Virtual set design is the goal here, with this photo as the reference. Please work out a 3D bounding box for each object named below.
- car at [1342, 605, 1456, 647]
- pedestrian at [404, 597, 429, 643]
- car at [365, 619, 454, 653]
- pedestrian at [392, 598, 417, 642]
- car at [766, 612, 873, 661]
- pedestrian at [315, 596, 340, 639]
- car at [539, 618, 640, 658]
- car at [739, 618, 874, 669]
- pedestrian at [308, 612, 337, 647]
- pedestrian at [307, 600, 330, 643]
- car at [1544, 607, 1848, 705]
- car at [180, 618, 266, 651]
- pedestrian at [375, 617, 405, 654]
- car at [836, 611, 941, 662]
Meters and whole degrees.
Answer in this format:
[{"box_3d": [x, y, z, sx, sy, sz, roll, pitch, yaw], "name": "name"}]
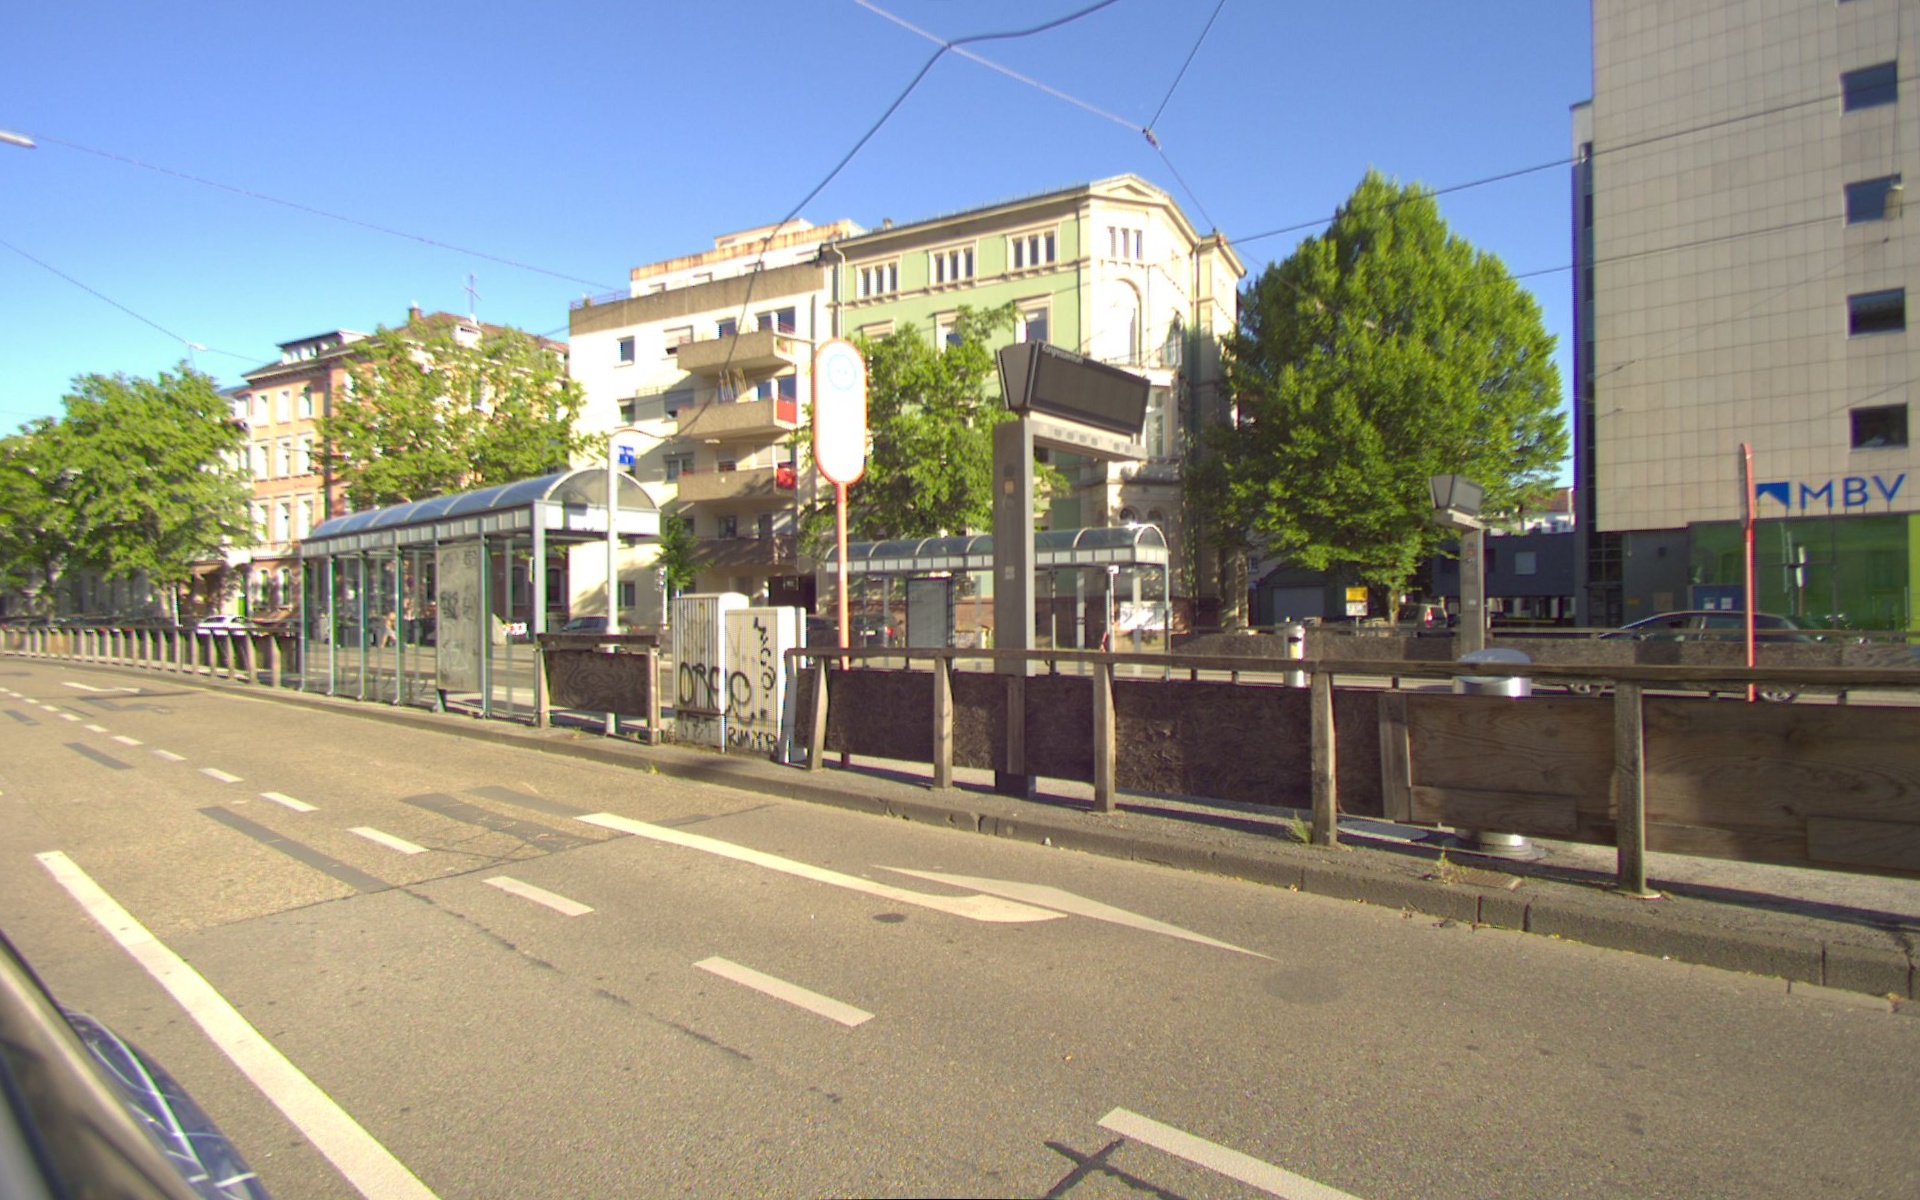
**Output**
[{"box_3d": [15.774, 0.900, 36.469, 1.544, 1.423, 3.430, -1, 0, -38], "name": "car"}, {"box_3d": [-26.996, 0.996, 50.306, 0.753, 2.224, 0.804, -1, -2, 30], "name": "pedestrian"}, {"box_3d": [-23.748, 1.554, 43.640, 3.986, 1.407, 1.592, -1, -2, 32], "name": "car"}, {"box_3d": [-27.887, 1.008, 50.816, 0.753, 2.224, 0.804, -1, -2, 30], "name": "pedestrian"}, {"box_3d": [-4.744, 1.223, 34.689, 1.754, 1.594, 3.965, -1, -1, 26], "name": "car"}, {"box_3d": [-33.051, 0.921, 52.887, 0.753, 2.224, 0.804, -1, -2, 30], "name": "pedestrian"}, {"box_3d": [-14.111, 1.427, 38.522, 3.725, 1.438, 1.637, -1, -1, 29], "name": "car"}, {"box_3d": [-4.549, 1.264, 29.828, 3.870, 1.419, 1.650, -1, -2, 35], "name": "car"}, {"box_3d": [-31.899, 1.479, 50.634, 1.016, 1.733, 0.846, -1, -2, 32], "name": "pedestrian"}, {"box_3d": [-34.201, 1.144, 53.932, 0.755, 2.224, 0.803, -1, -2, 36], "name": "pedestrian"}, {"box_3d": [12.286, 0.893, 17.185, 3.990, 1.500, 1.629, -1, -2, 35], "name": "car"}, {"box_3d": [-39.474, 1.816, 54.312, 1.825, 1.721, 4.130, 0, -1, -5], "name": "car"}, {"box_3d": [-26.123, 1.615, 46.367, 0.879, 1.641, 0.869, 0, -1, -1], "name": "pedestrian"}, {"box_3d": [-2.310, 1.191, 33.641, 1.754, 1.594, 3.965, -1, -1, 26], "name": "car"}]
